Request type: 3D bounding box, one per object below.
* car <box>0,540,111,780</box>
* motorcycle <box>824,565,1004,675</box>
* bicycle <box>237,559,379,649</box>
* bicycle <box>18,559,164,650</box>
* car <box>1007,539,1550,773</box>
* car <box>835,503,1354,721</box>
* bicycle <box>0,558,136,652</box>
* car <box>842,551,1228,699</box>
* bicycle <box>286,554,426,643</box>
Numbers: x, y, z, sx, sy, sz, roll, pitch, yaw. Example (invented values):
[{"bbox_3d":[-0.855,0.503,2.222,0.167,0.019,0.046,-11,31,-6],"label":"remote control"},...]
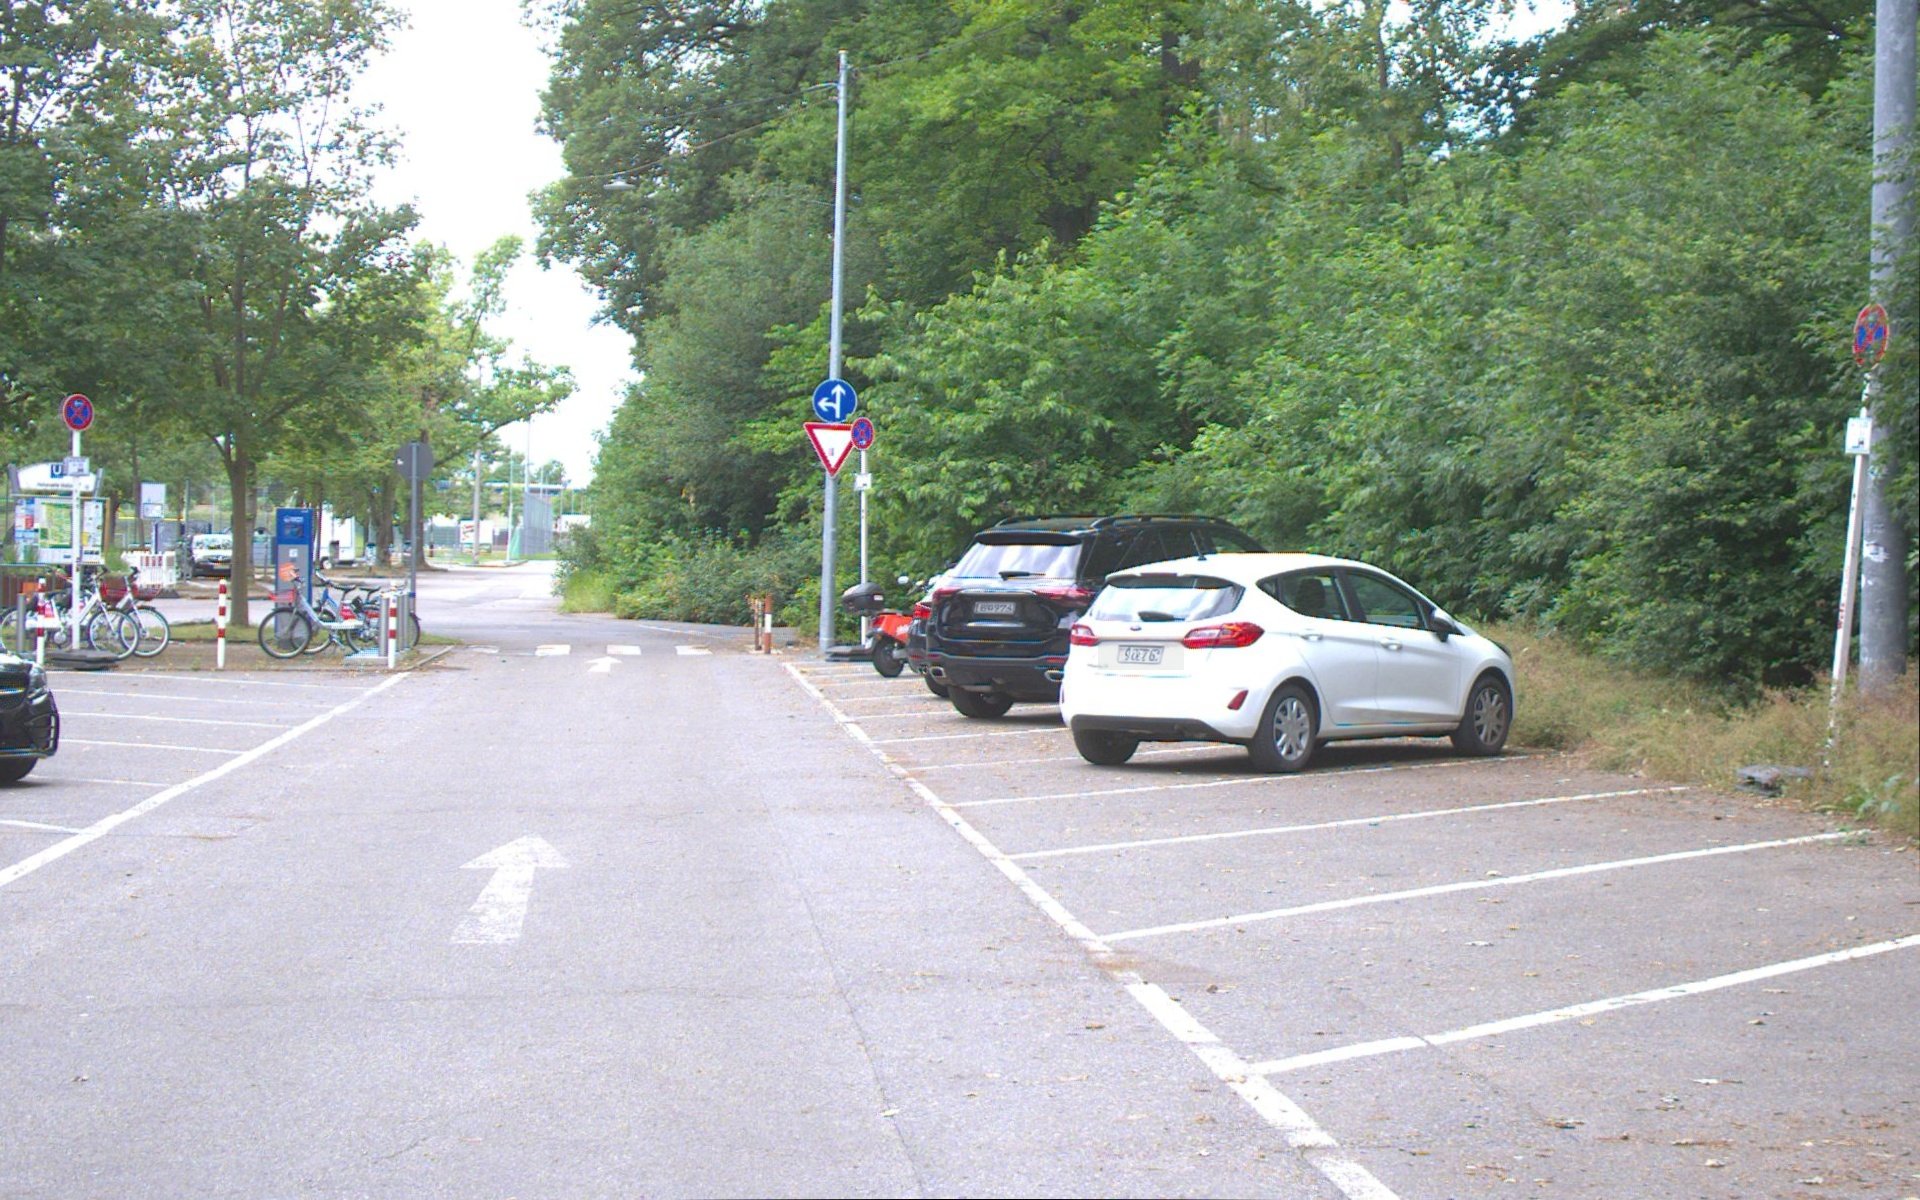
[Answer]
[{"bbox_3d":[-7.540,0.316,21.816,4.311,1.437,1.865,2,1,37],"label":"car"},{"bbox_3d":[-0.516,0.216,39.113,2.023,1.203,0.730,0,2,-40],"label":"motorcycle"},{"bbox_3d":[-8.175,0.047,43.140,1.679,1.108,0.506,1,1,1],"label":"bicycle"},{"bbox_3d":[-10.787,0.055,42.701,1.679,1.108,0.483,1,1,-2],"label":"bicycle"},{"bbox_3d":[2.333,0.350,24.417,1.868,1.505,3.990,1,1,40],"label":"car"},{"bbox_3d":[1.269,0.074,30.339,2.110,1.761,4.697,1,1,40],"label":"car"},{"bbox_3d":[-10.869,0.053,41.383,1.783,1.108,0.483,1,1,-2],"label":"bicycle"},{"bbox_3d":[0.807,0.211,34.612,1.738,1.371,3.991,2,2,40],"label":"car"},{"bbox_3d":[-7.748,-0.018,44.108,1.692,1.108,0.482,1,1,3],"label":"bicycle"}]
